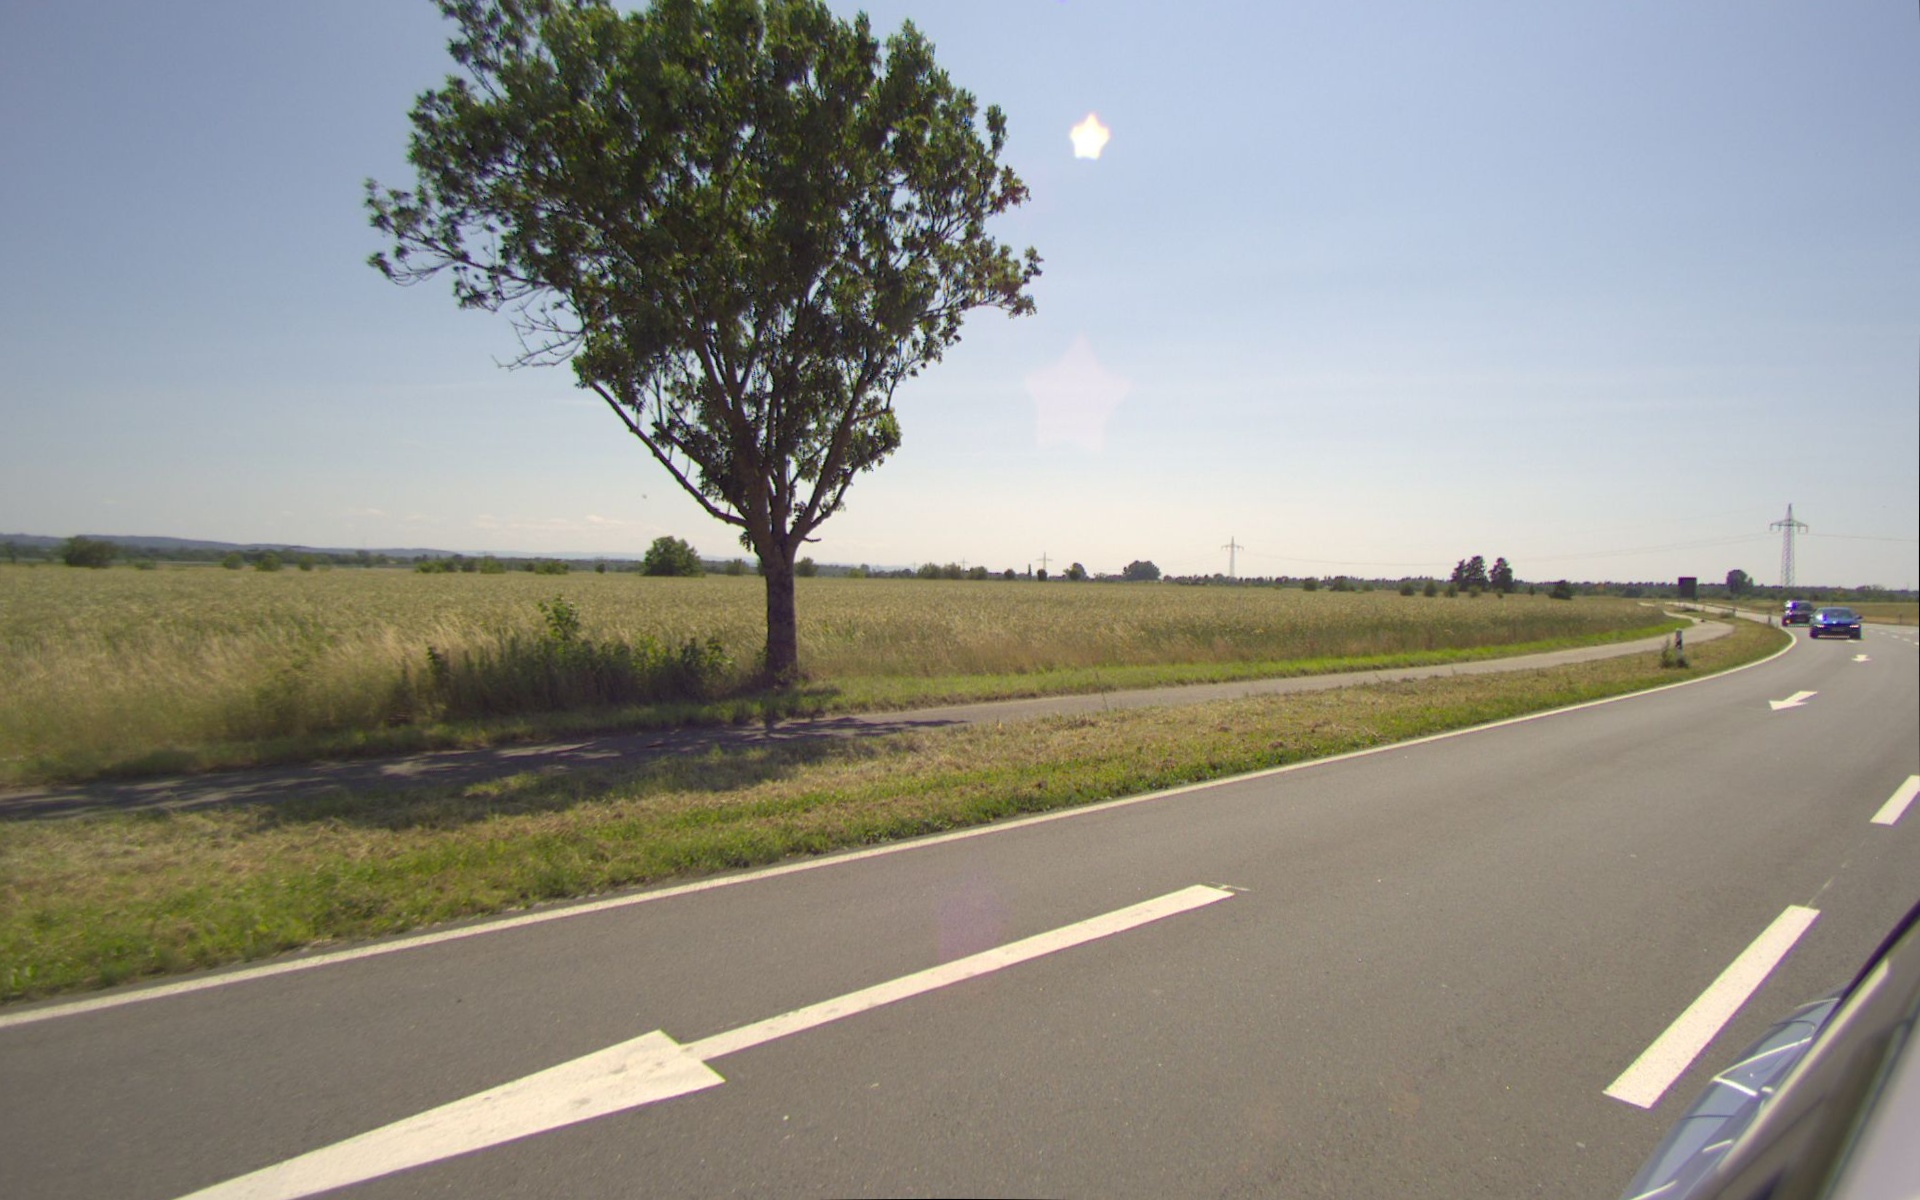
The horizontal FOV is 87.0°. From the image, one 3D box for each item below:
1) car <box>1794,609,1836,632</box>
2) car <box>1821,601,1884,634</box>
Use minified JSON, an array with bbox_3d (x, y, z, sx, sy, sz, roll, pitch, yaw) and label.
[{"bbox_3d":[60.511,1.452,71.660,2.180,1.485,4.942,0,0,39],"label":"car"},{"bbox_3d":[42.851,0.810,48.679,2.181,1.485,4.940,0,0,40],"label":"car"}]
